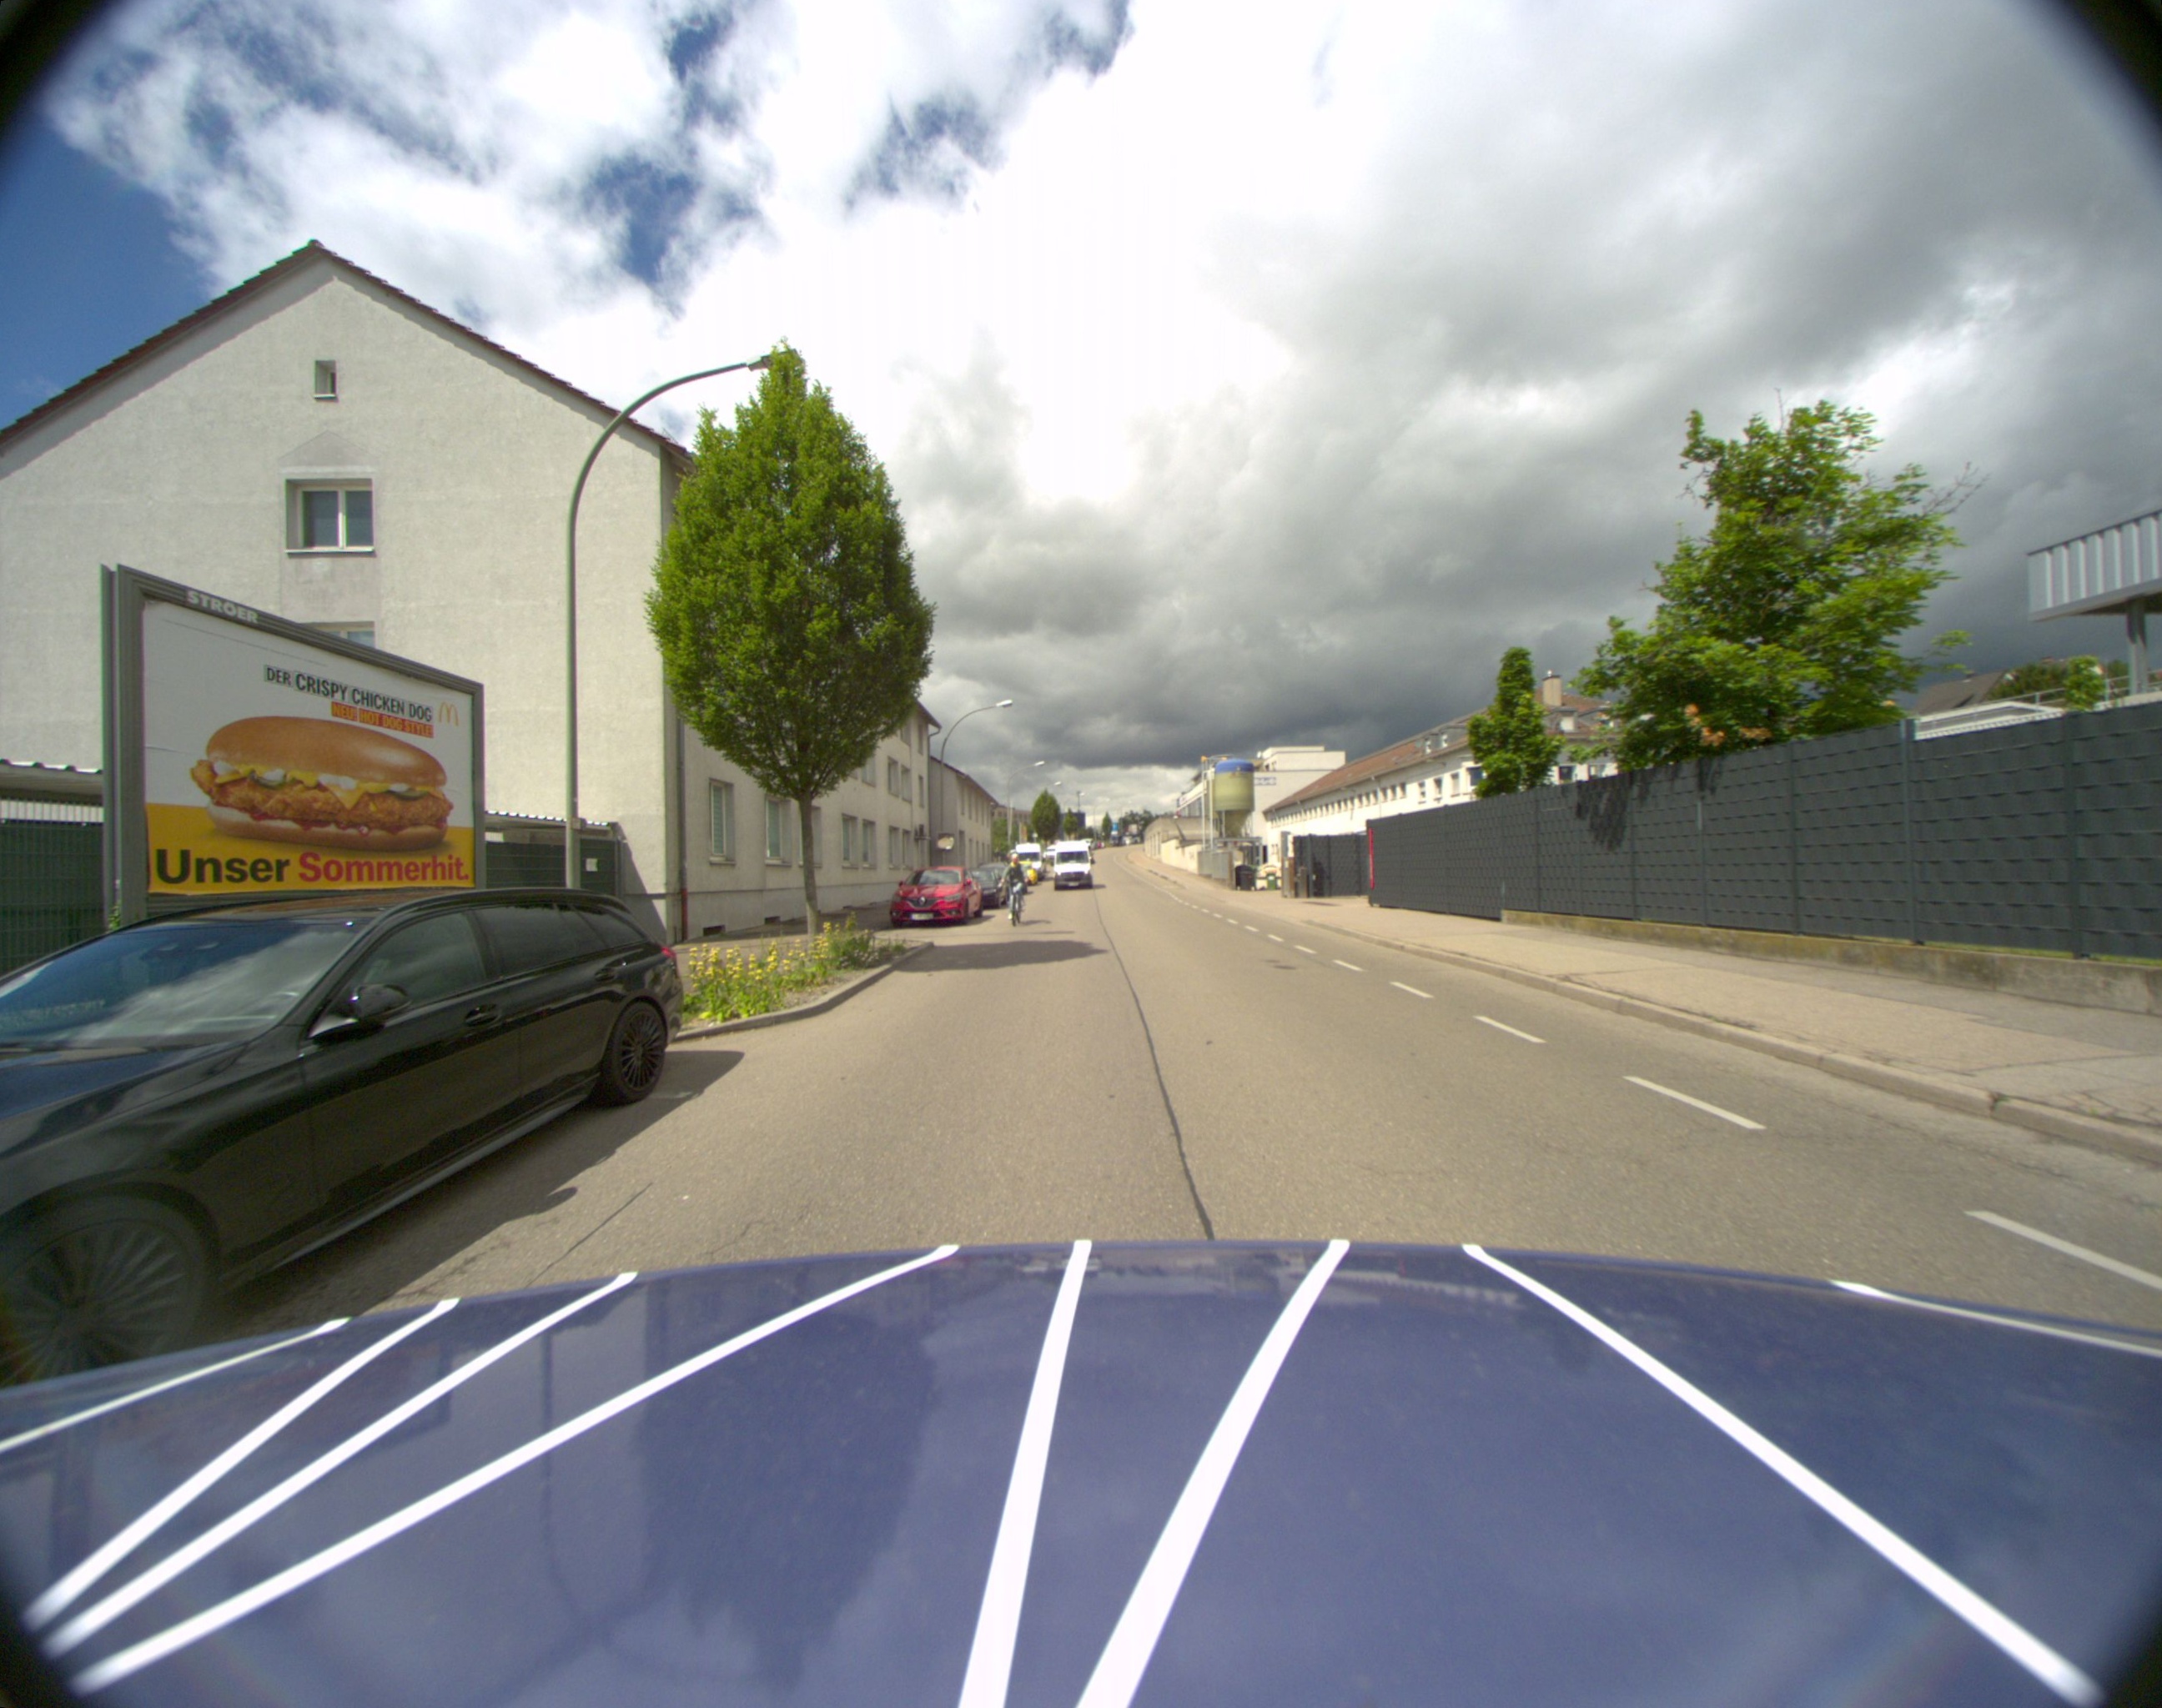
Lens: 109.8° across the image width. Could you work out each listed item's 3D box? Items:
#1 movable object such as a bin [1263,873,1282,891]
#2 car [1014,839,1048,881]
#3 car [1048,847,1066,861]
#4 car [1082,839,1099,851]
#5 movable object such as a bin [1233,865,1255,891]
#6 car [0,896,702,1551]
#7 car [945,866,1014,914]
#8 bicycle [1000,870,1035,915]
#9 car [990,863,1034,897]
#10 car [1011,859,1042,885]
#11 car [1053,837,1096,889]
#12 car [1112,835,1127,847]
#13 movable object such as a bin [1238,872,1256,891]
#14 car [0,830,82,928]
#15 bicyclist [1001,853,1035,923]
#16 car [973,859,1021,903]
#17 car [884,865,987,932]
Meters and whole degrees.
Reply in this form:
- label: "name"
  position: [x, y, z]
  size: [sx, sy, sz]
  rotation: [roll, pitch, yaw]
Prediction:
- label: "movable object such as a bin"
  position: [10.879, 1.562, 43.207]
  size: [0.736, 0.996, 0.857]
  rotation: [-1, 0, -16]
- label: "car"
  position: [-3.521, 0.316, 54.461]
  size: [2.038, 2.627, 7.279]
  rotation: [-1, 2, -1]
- label: "car"
  position: [-2.861, -0.030, 91.298]
  size: [1.846, 1.557, 4.465]
  rotation: [0, 2, 2]
- label: "car"
  position: [1.743, -1.690, 134.506]
  size: [1.978, 1.993, 5.550]
  rotation: [-1, 2, 11]
- label: "movable object such as a bin"
  position: [9.075, 1.323, 42.265]
  size: [0.993, 1.385, 1.216]
  rotation: [1, 0, 2]
- label: "car"
  position: [-3.761, 1.094, 3.417]
  size: [1.796, 1.457, 4.707]
  rotation: [-1, 1, -1]
- label: "car"
  position: [-3.429, 1.182, 26.513]
  size: [1.739, 1.415, 4.860]
  rotation: [-2, -1, -1]
- label: "bicycle"
  position: [-1.512, 0.895, 18.391]
  size: [0.742, 0.969, 1.732]
  rotation: [-1, 1, -2]
- label: "car"
  position: [-3.369, 1.221, 37.682]
  size: [1.709, 1.501, 5.087]
  rotation: [-3, -1, -1]
- label: "car"
  position: [-3.380, 1.096, 47.797]
  size: [1.596, 1.439, 3.790]
  rotation: [-1, 1, 1]
- label: "car"
  position: [-0.282, 0.392, 41.751]
  size: [2.082, 2.576, 6.061]
  rotation: [-1, 2, 2]
- label: "car"
  position: [8.228, -2.800, 163.381]
  size: [2.057, 2.580, 5.739]
  rotation: [-1, 2, 15]
- label: "movable object such as a bin"
  position: [9.014, 1.491, 41.291]
  size: [0.874, 1.044, 0.741]
  rotation: [1, 0, 4]
- label: "car"
  position: [-24.721, 0.563, 15.804]
  size: [4.964, 2.024, 1.999]
  rotation: [-1, 2, -2]
- label: "bicyclist"
  position: [-1.498, 0.799, 18.256]
  size: [0.741, 1.617, 0.731]
  rotation: [-1, 2, -2]
- label: "car"
  position: [-3.484, 1.076, 32.097]
  size: [1.681, 1.628, 4.795]
  rotation: [-3, -1, -3]
- label: "car"
  position: [-3.595, 1.046, 19.556]
  size: [1.739, 1.464, 4.261]
  rotation: [-2, 0, 1]
